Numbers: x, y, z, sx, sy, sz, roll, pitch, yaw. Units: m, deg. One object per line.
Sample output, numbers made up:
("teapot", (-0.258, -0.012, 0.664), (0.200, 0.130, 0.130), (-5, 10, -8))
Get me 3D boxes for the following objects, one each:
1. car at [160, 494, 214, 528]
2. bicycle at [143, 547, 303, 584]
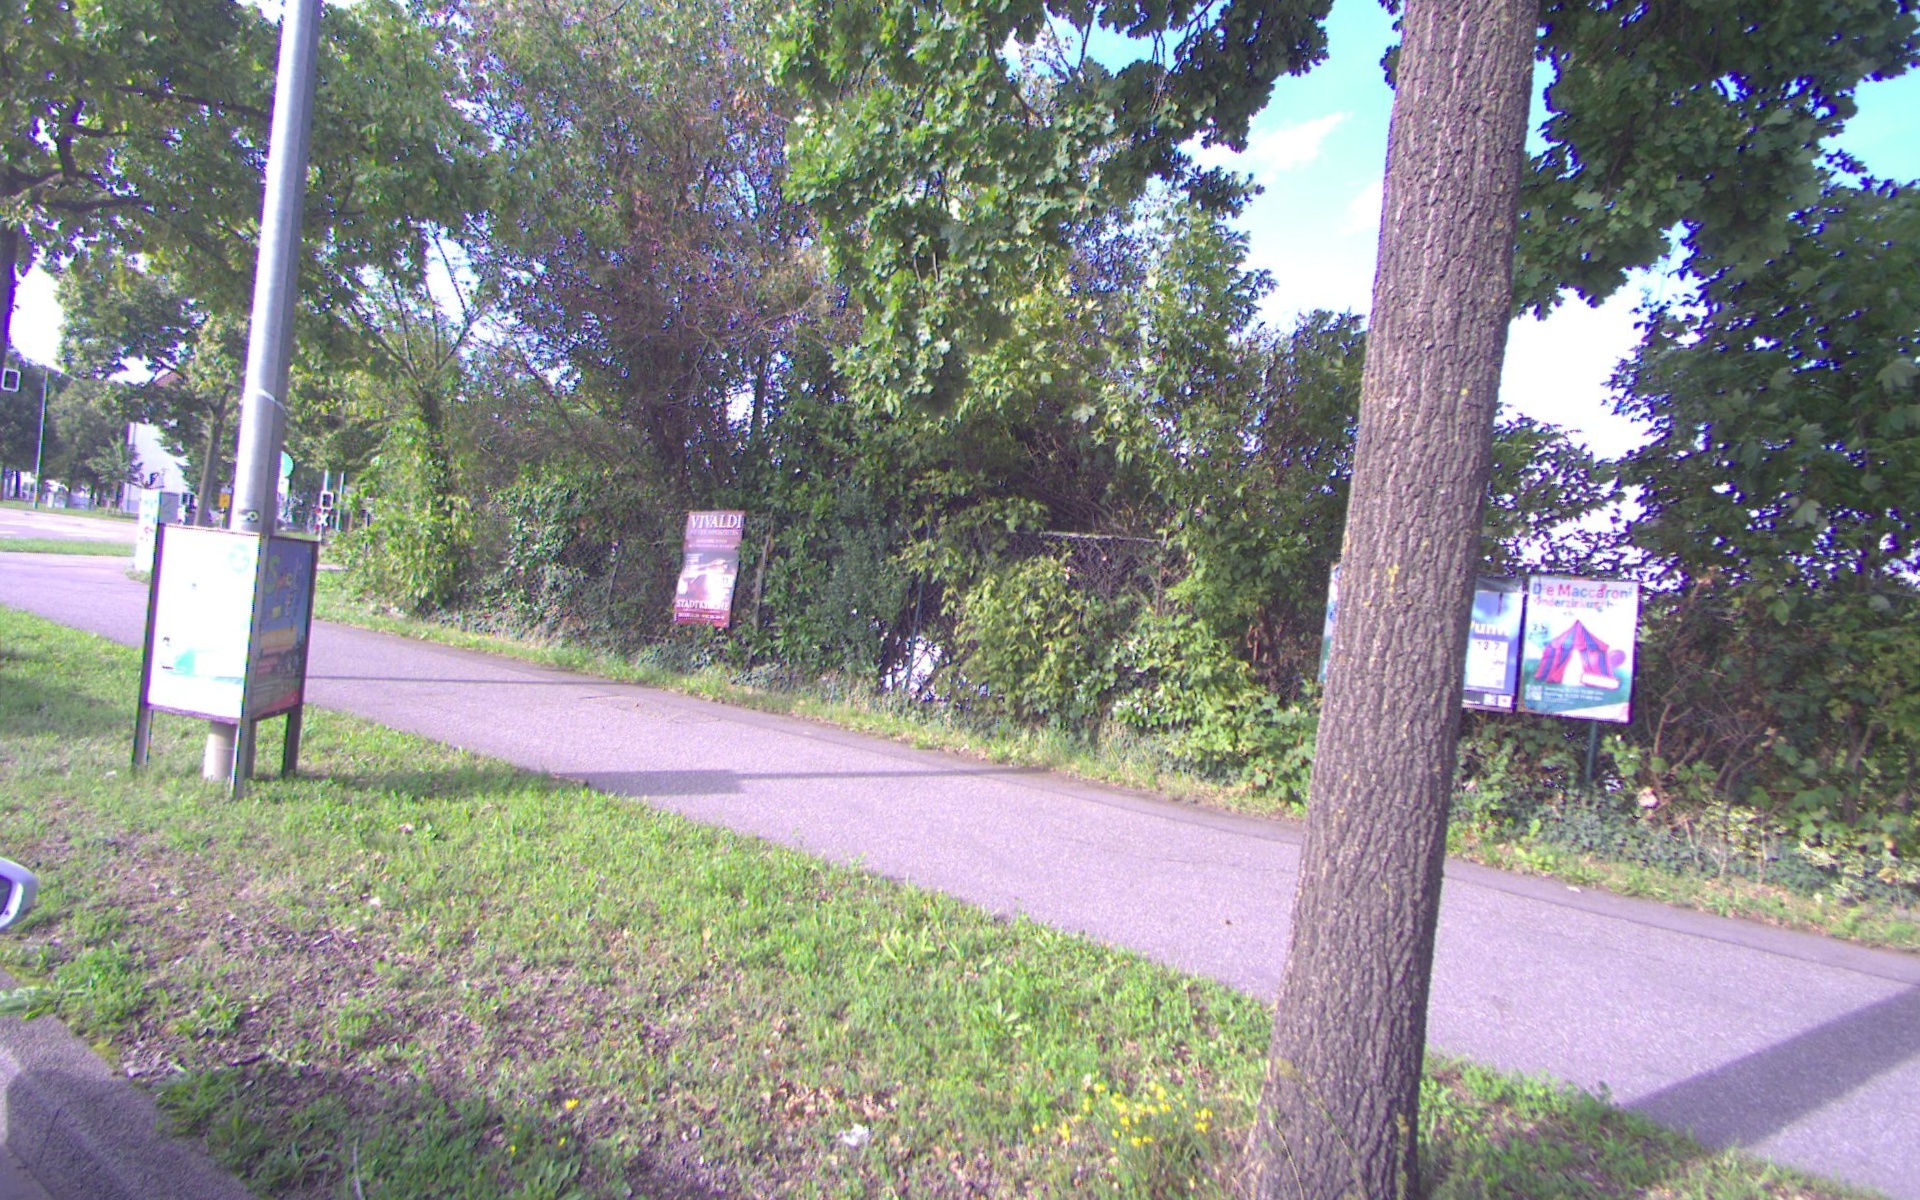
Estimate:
("car", (-46.812, -5.408, 60.935), (3.147, 1.593, 1.571), (9, 1, 34))
("bicycle", (-14.615, -0.684, 19.970), (2.529, 0.390, 1.411), (7, 0, 21))
